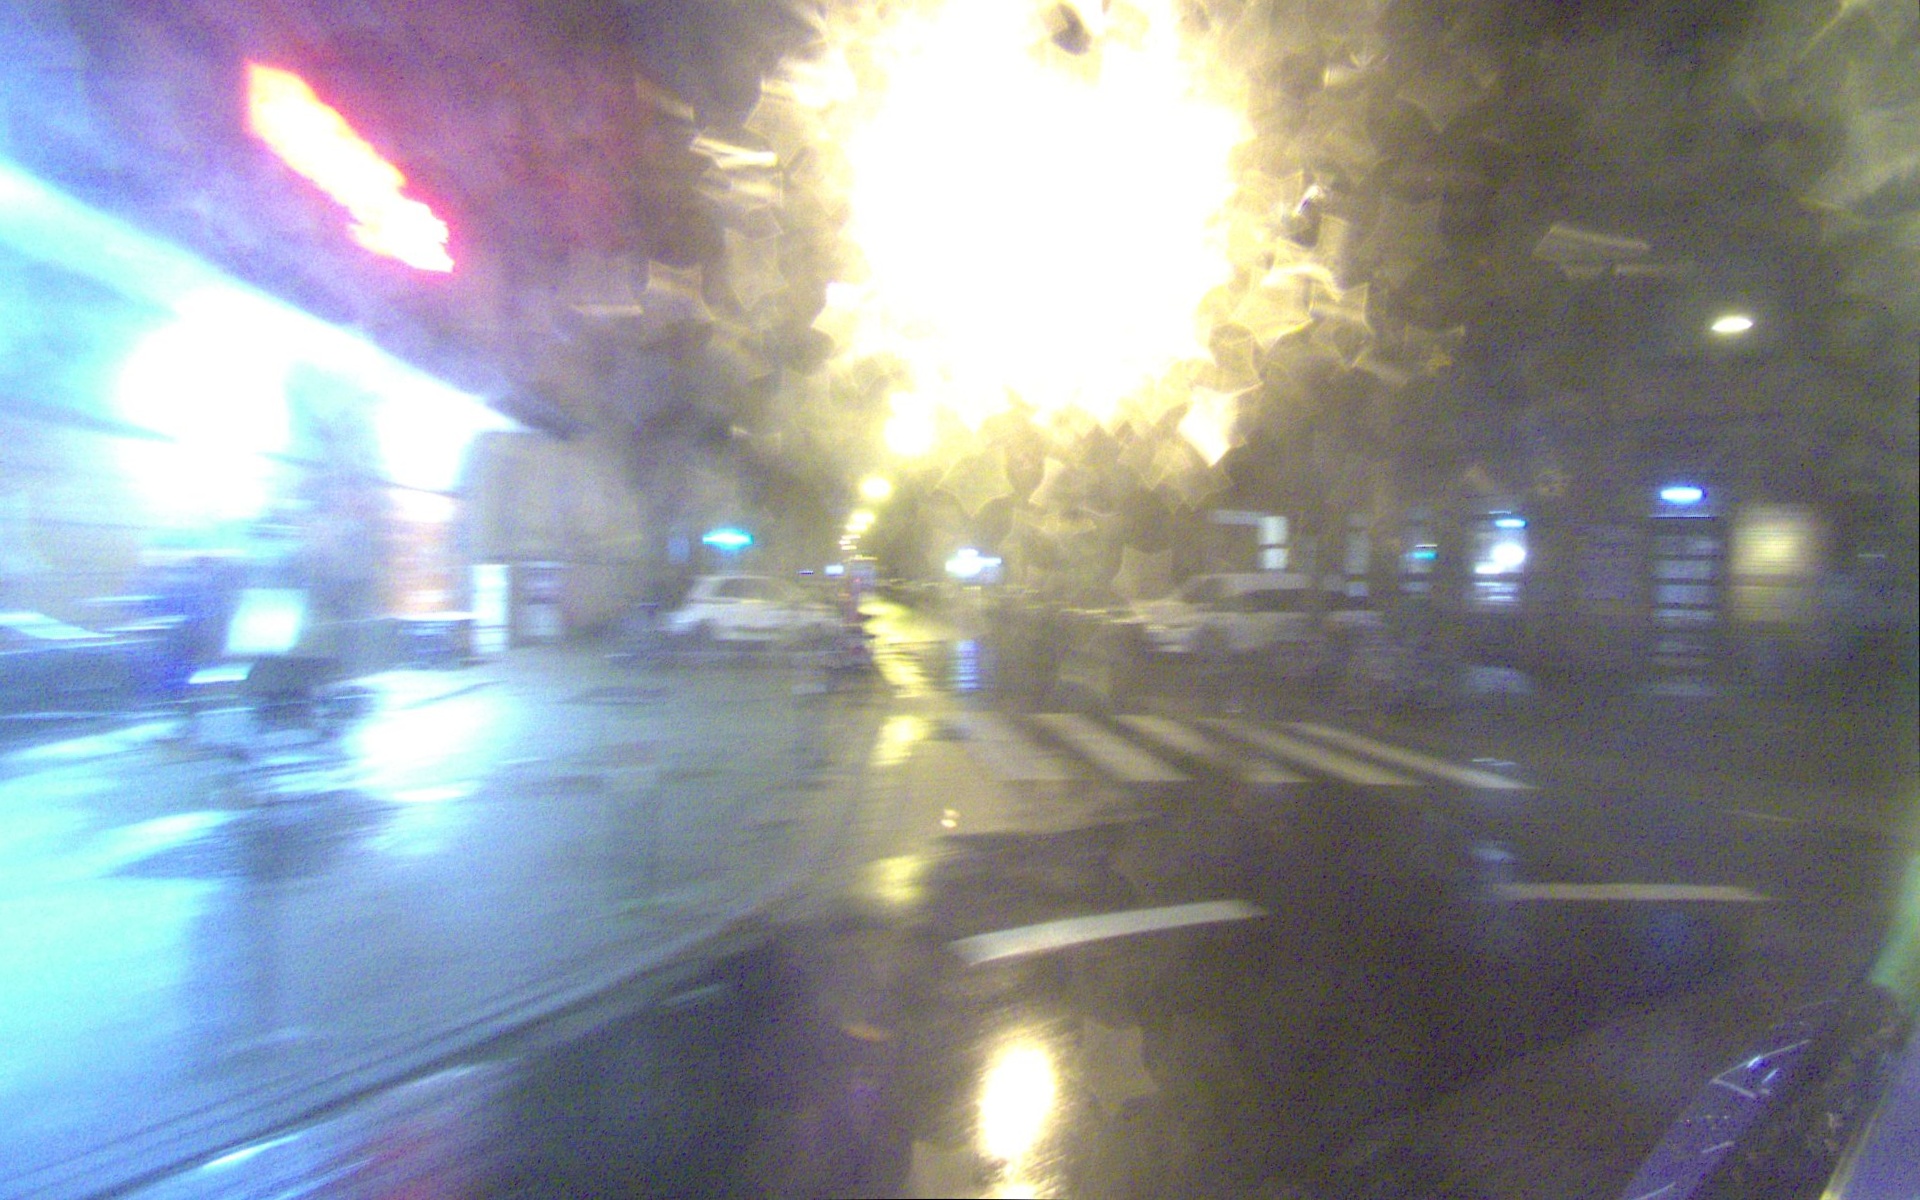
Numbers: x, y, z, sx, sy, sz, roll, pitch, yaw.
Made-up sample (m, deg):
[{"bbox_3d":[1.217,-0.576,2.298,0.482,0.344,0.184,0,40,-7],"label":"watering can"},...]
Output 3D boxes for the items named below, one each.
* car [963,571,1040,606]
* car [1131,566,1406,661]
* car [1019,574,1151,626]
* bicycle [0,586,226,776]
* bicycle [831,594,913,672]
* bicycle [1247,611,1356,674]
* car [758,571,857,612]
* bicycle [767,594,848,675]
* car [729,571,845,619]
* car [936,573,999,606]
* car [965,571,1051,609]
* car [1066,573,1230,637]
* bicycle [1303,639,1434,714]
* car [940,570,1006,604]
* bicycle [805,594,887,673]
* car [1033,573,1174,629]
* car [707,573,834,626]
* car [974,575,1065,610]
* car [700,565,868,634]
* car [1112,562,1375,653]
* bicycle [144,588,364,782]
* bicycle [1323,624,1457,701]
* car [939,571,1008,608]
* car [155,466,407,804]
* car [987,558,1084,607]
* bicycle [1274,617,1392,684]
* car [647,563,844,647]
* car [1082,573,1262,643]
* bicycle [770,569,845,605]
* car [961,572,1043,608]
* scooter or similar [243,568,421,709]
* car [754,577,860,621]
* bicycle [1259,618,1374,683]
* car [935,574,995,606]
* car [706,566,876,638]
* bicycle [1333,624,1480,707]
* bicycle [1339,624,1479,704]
[{"bbox_3d":[2.161,-0.602,53.494,3.922,1.794,2.001,0,-1,-2],"label":"car"},{"bbox_3d":[6.242,0.281,20.776,4.992,1.785,2.003,1,0,-8],"label":"car"},{"bbox_3d":[4.533,0.001,37.061,4.371,1.785,2.003,1,0,-8],"label":"car"},{"bbox_3d":[-5.974,0.513,7.204,0.376,1.189,1.648,-1,0,-4],"label":"bicycle"},{"bbox_3d":[-1.460,0.510,16.453,0.443,1.191,1.965,0,-1,-34],"label":"bicycle"},{"bbox_3d":[5.900,0.730,17.486,1.741,1.021,0.404,2,0,-7],"label":"bicycle"},{"bbox_3d":[-6.209,-0.335,41.328,3.621,1.598,1.757,0,-1,-33],"label":"car"},{"bbox_3d":[-2.395,0.509,15.741,0.443,1.191,1.965,0,-1,-34],"label":"bicycle"},{"bbox_3d":[-6.033,-0.150,35.456,3.621,1.598,1.757,0,-1,-33],"label":"car"},{"bbox_3d":[0.469,-0.687,67.206,3.920,2.039,2.002,2,1,-5],"label":"car"},{"bbox_3d":[2.267,-0.454,48.487,3.922,1.796,2.001,0,-1,-2],"label":"car"},{"bbox_3d":[5.581,0.145,30.330,4.371,1.785,2.003,1,0,-8],"label":"car"},{"bbox_3d":[5.992,1.115,14.860,1.773,1.021,0.404,2,0,-7],"label":"bicycle"},{"bbox_3d":[0.803,-0.837,64.372,3.920,2.039,2.002,2,1,-5],"label":"car"},{"bbox_3d":[-1.854,0.510,16.146,0.443,1.191,1.965,0,-1,-34],"label":"bicycle"},{"bbox_3d":[4.882,0.032,34.815,4.371,1.785,2.003,1,0,-8],"label":"car"},{"bbox_3d":[-6.078,-0.011,32.527,3.621,1.598,1.757,0,-1,-33],"label":"car"},{"bbox_3d":[2.675,-0.334,46.241,3.922,1.572,2.001,0,-1,-2],"label":"car"},{"bbox_3d":[-4.622,-0.009,26.762,4.027,1.684,1.757,0,-1,-33],"label":"car"},{"bbox_3d":[6.435,0.184,23.218,5.434,1.914,2.003,1,0,-8],"label":"car"},{"bbox_3d":[-4.887,0.513,7.146,0.376,1.189,1.788,1,0,-4],"label":"bicycle"},{"bbox_3d":[6.114,0.883,14.407,1.773,1.021,0.380,2,0,-7],"label":"bicycle"},{"bbox_3d":[0.810,-0.641,61.332,3.920,2.039,2.002,2,1,-5],"label":"car"},{"bbox_3d":[-4.053,0.199,6.136,0.859,1.864,0.965,2,0,-5],"label":"car"},{"bbox_3d":[3.207,-0.725,43.483,3.922,2.039,2.001,0,-1,-2],"label":"car"},{"bbox_3d":[6.029,0.814,16.384,1.773,1.021,0.404,2,0,-7],"label":"bicycle"},{"bbox_3d":[-4.416,0.099,20.969,3.621,1.598,1.757,0,-1,-33],"label":"car"},{"bbox_3d":[5.756,0.209,27.746,4.371,1.785,2.003,1,0,-8],"label":"car"},{"bbox_3d":[-9.015,-0.762,59.814,3.922,2.039,2.001,0,1,-32],"label":"bicycle"},{"bbox_3d":[2.078,-0.480,50.897,3.922,1.794,2.001,0,-1,-2],"label":"car"},{"bbox_3d":[-5.856,0.352,9.477,1.287,1.245,0.527,2,-1,-2],"label":"scooter or similar"},{"bbox_3d":[-5.825,-0.034,38.676,3.621,1.598,1.757,0,-1,-33],"label":"car"},{"bbox_3d":[5.964,0.840,16.950,1.773,1.021,0.404,2,0,-7],"label":"bicycle"},{"bbox_3d":[0.318,-0.672,69.898,3.920,2.039,2.002,2,1,-5],"label":"car"},{"bbox_3d":[-4.032,0.056,24.274,3.621,1.598,1.757,0,-1,-33],"label":"car"},{"bbox_3d":[5.928,0.866,13.455,1.773,1.021,0.456,2,0,-7],"label":"bicycle"},{"bbox_3d":[6.181,0.881,13.948,1.773,1.021,0.404,2,0,-7],"label":"bicycle"}]
